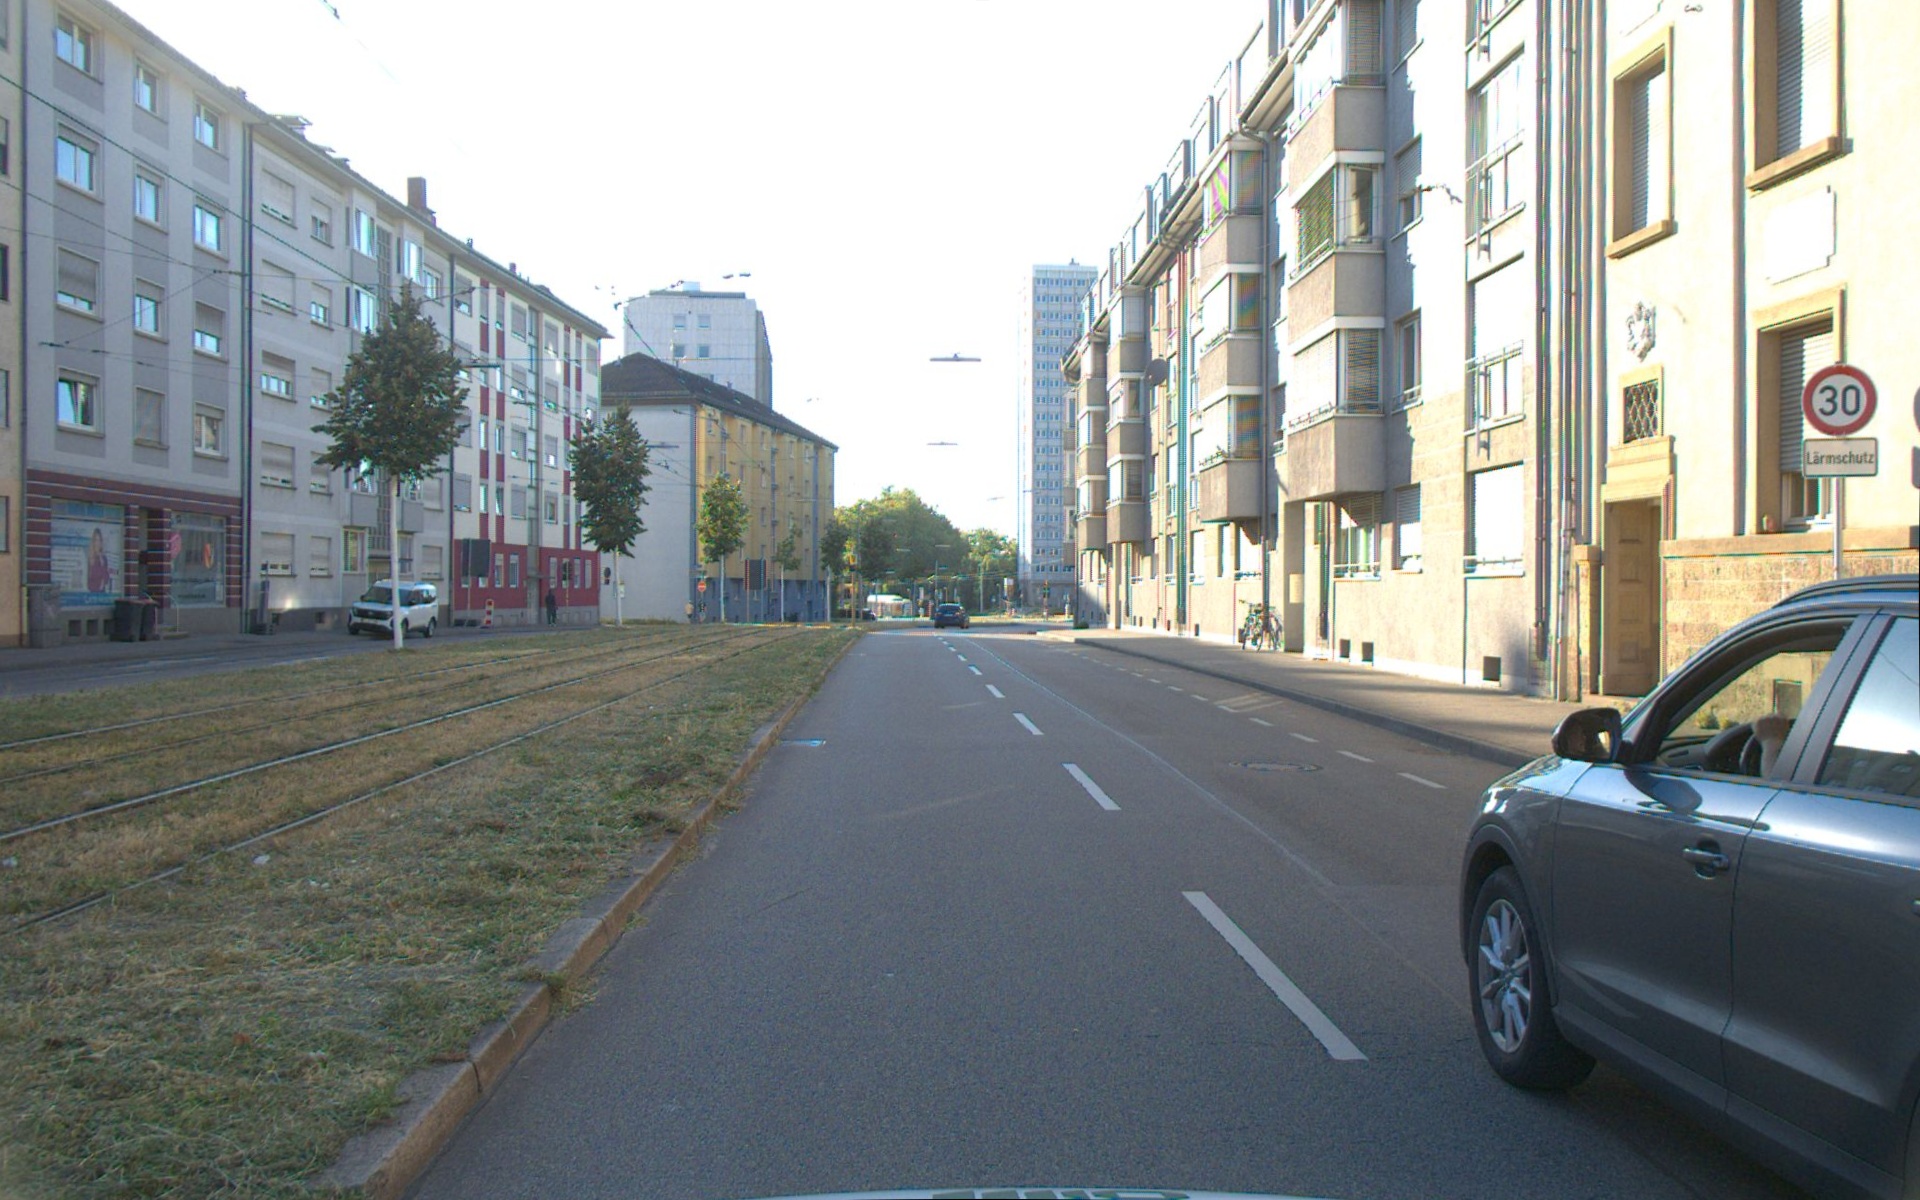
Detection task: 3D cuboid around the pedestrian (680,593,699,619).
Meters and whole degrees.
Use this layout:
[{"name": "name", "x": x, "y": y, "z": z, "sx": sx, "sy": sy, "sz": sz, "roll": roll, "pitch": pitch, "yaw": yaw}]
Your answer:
[{"name": "pedestrian", "x": -17.892, "y": 0.415, "z": 109.435, "sx": 0.942, "sy": 1.723, "sz": 1.011, "roll": 1, "pitch": -1, "yaw": 3}]

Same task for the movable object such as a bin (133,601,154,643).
[{"name": "movable object such as a bin", "x": -21.006, "y": 0.563, "z": 42.566, "sx": 0.292, "sy": 1.055, "sz": 0.441, "roll": 1, "pitch": -1, "yaw": -3}]

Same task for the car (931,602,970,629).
[{"name": "car", "x": -0.530, "y": 0.900, "z": 97.219, "sx": 1.885, "sy": 1.481, "sz": 4.330, "roll": 1, "pitch": -1, "yaw": 5}]

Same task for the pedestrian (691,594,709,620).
[{"name": "pedestrian", "x": -17.160, "y": 0.442, "z": 109.291, "sx": 0.942, "sy": 1.699, "sz": 1.011, "roll": 1, "pitch": -1, "yaw": 3}]

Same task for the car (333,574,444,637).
[{"name": "car", "x": -19.049, "y": 0.202, "z": 55.372, "sx": 1.952, "sy": 1.958, "sz": 4.543, "roll": 1, "pitch": -1, "yaw": 2}]

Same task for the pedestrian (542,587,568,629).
[{"name": "pedestrian", "x": -19.947, "y": 0.392, "z": 81.522, "sx": 0.984, "sy": 2.071, "sz": 0.886, "roll": 1, "pitch": -1, "yaw": 3}]

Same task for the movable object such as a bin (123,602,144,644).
[{"name": "movable object such as a bin", "x": -21.013, "y": 0.571, "z": 42.048, "sx": 0.292, "sy": 1.055, "sz": 0.441, "roll": 1, "pitch": -1, "yaw": -3}]

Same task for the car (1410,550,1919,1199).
[{"name": "car", "x": 2.596, "y": 0.722, "z": 3.950, "sx": 1.664, "sy": 1.580, "sz": 4.222, "roll": 1, "pitch": -1, "yaw": -3}]

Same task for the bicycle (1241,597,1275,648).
[{"name": "bicycle", "x": 6.622, "y": 0.489, "z": 36.787, "sx": 0.376, "sy": 1.115, "sz": 1.503, "roll": -1, "pitch": 0, "yaw": -4}]
